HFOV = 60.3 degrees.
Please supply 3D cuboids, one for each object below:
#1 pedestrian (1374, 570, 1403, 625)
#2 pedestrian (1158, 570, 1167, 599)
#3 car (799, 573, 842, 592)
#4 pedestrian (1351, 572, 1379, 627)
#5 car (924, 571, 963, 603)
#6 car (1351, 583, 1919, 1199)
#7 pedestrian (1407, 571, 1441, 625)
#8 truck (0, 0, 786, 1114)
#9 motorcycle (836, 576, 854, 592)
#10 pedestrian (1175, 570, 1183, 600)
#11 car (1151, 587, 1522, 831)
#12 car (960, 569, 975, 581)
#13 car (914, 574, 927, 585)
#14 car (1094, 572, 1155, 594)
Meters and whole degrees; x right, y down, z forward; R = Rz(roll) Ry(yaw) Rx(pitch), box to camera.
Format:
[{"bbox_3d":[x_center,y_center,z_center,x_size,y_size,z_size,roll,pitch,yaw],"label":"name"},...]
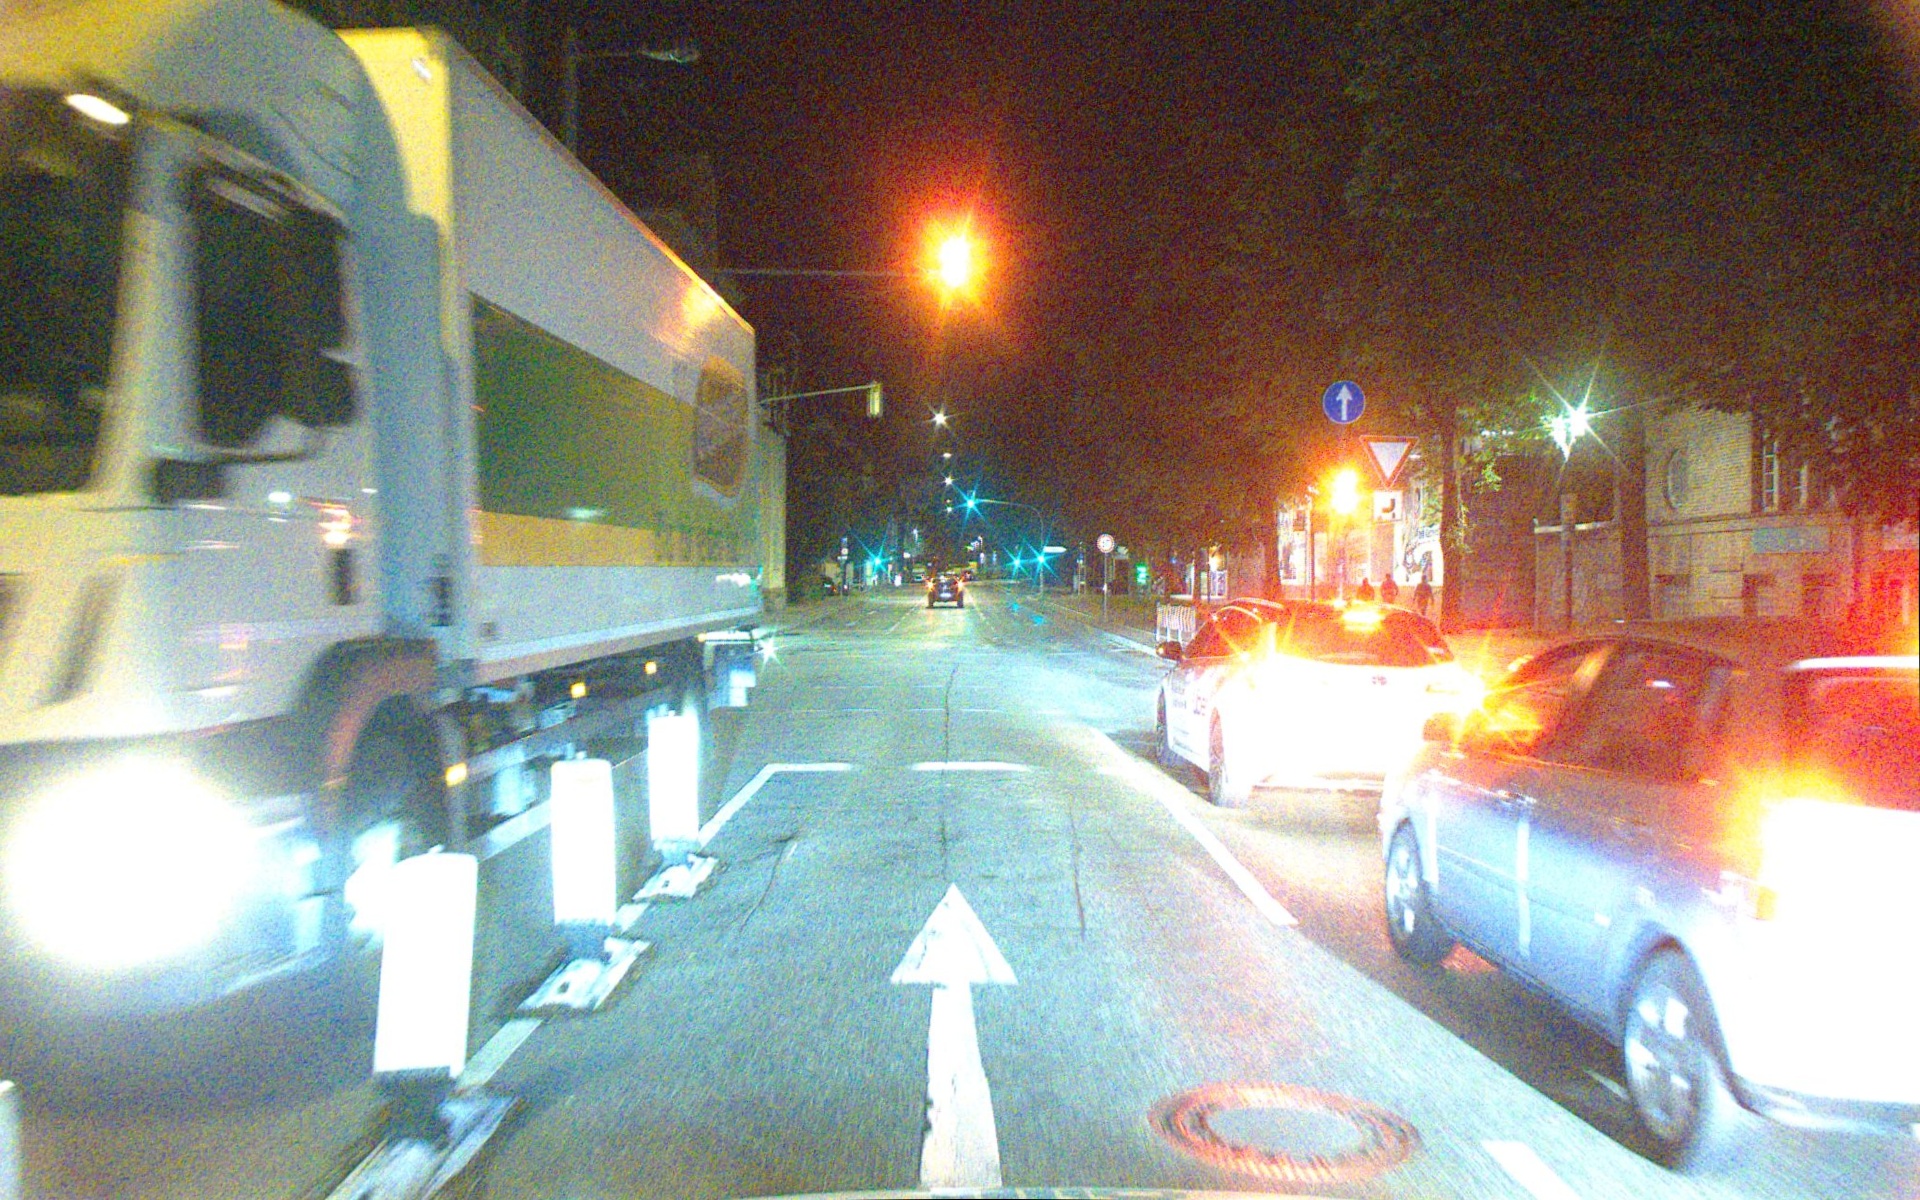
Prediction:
[{"bbox_3d":[14.367,-0.086,55.492,0.723,1.800,0.907,-1,0,-1],"label":"pedestrian"},{"bbox_3d":[14.079,-1.067,114.848,0.521,2.049,0.670,0,0,-1],"label":"pedestrian"},{"bbox_3d":[-10.972,-1.380,129.673,1.786,1.512,3.957,-1,1,-32],"label":"car"},{"bbox_3d":[13.571,-0.025,55.444,0.699,1.800,0.907,-1,0,-1],"label":"pedestrian"},{"bbox_3d":[-0.912,-0.694,88.071,1.953,1.668,3.999,0,1,-2],"label":"car"},{"bbox_3d":[2.691,0.733,5.802,1.604,1.520,4.000,2,1,-1],"label":"car"},{"bbox_3d":[15.613,-0.076,55.690,0.882,1.800,0.907,-1,0,-1],"label":"pedestrian"},{"bbox_3d":[-3.002,-0.636,9.231,2.698,3.783,10.115,-1,1,1],"label":"truck"},{"bbox_3d":[-8.822,-1.206,126.980,0.769,1.225,2.436,-1,1,-19],"label":"motorcycle"},{"bbox_3d":[15.241,-1.034,114.912,0.478,2.049,0.550,0,0,-1],"label":"pedestrian"},{"bbox_3d":[2.613,0.673,12.494,1.694,1.460,4.209,2,1,-2],"label":"car"},{"bbox_3d":[1.021,-3.551,235.511,1.954,1.624,3.998,0,1,-3],"label":"car"},{"bbox_3d":[-5.264,-2.703,220.837,1.742,1.414,3.999,0,1,-2],"label":"car"},{"bbox_3d":[10.752,-1.112,108.289,3.904,1.410,1.772,0,1,2],"label":"car"}]
